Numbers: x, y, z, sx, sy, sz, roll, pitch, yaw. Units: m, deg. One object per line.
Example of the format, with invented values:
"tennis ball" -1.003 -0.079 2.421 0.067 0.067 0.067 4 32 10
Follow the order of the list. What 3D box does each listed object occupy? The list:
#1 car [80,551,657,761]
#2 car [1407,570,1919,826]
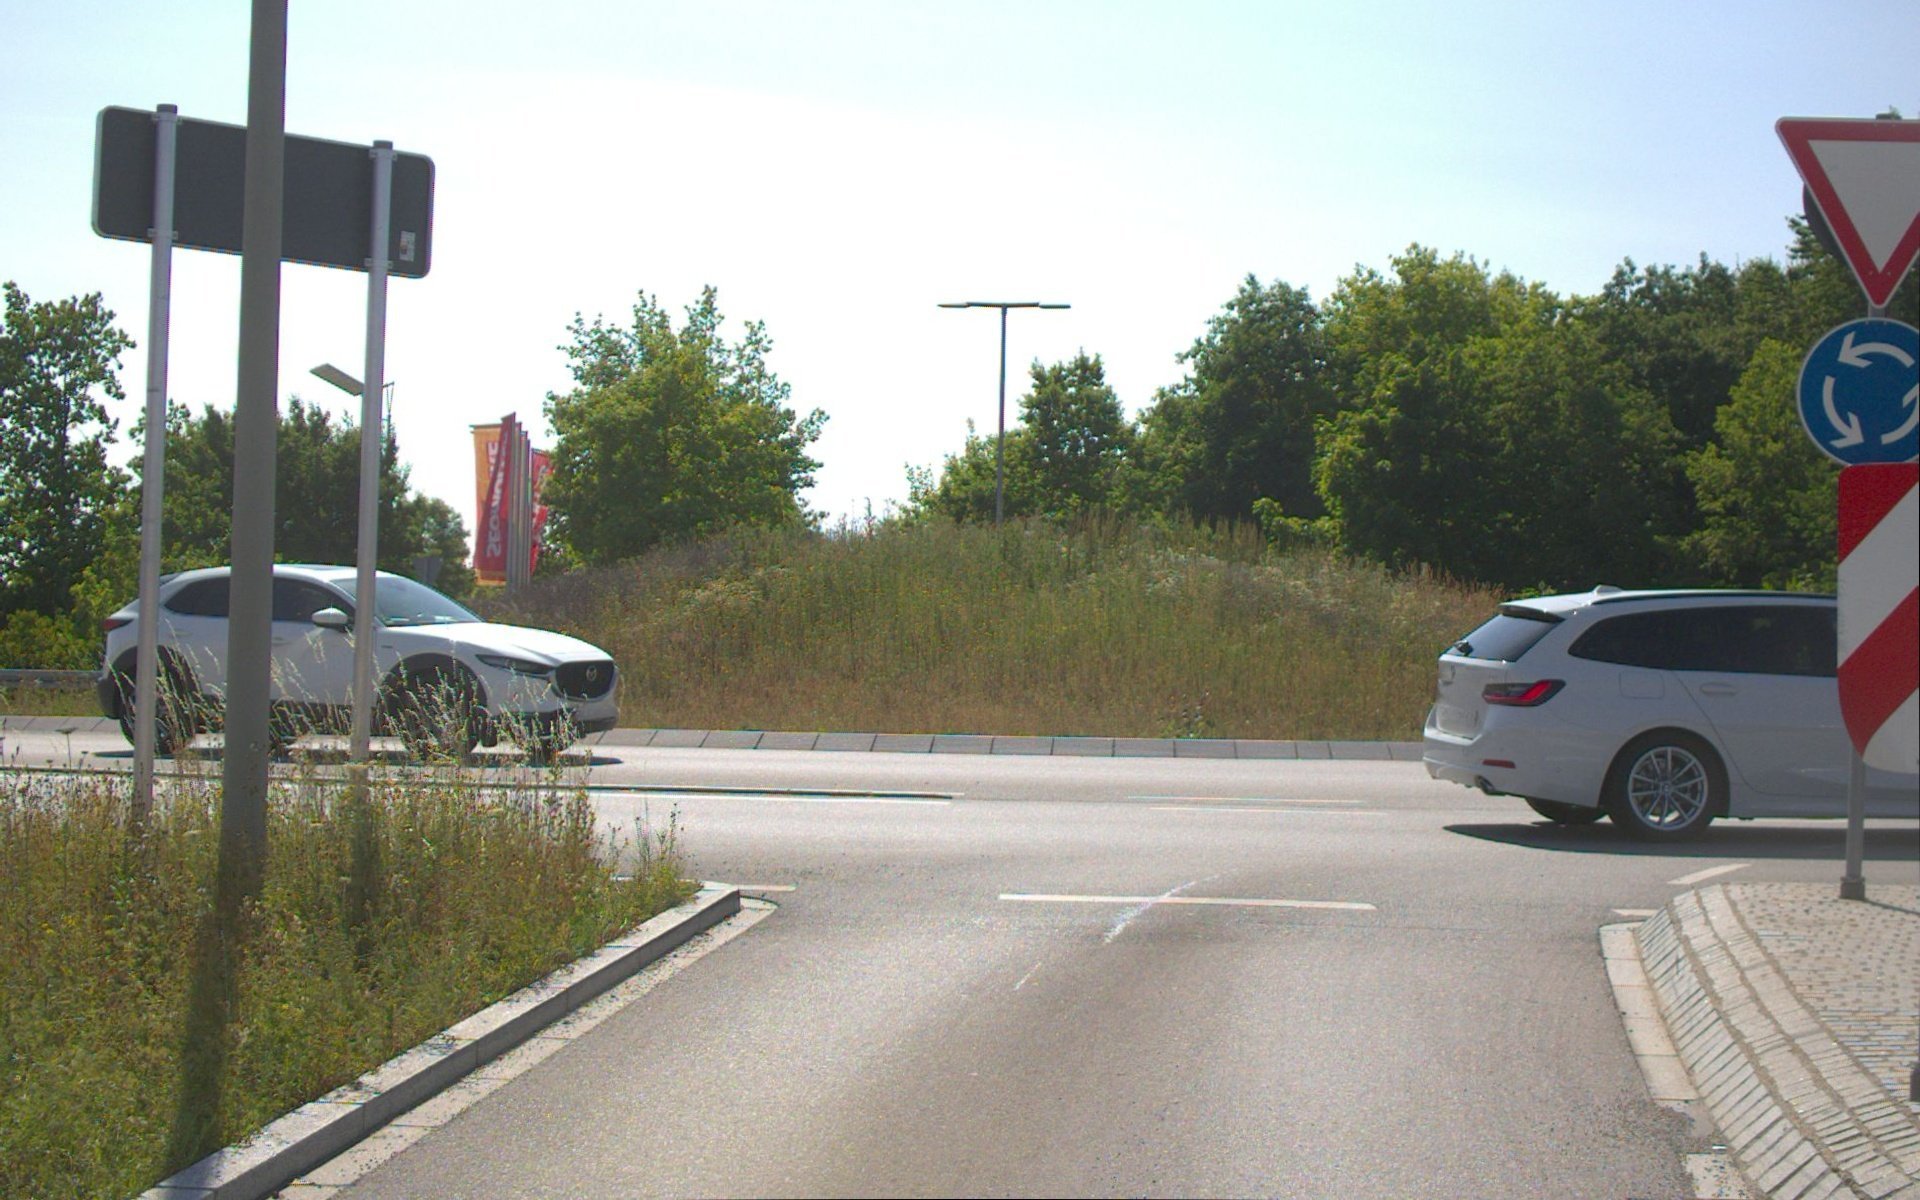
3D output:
"car" -4.767 0.425 27.666 4.279 1.525 1.789 1 0 25
"car" 4.947 0.585 20.180 4.326 1.347 1.573 2 0 -5
